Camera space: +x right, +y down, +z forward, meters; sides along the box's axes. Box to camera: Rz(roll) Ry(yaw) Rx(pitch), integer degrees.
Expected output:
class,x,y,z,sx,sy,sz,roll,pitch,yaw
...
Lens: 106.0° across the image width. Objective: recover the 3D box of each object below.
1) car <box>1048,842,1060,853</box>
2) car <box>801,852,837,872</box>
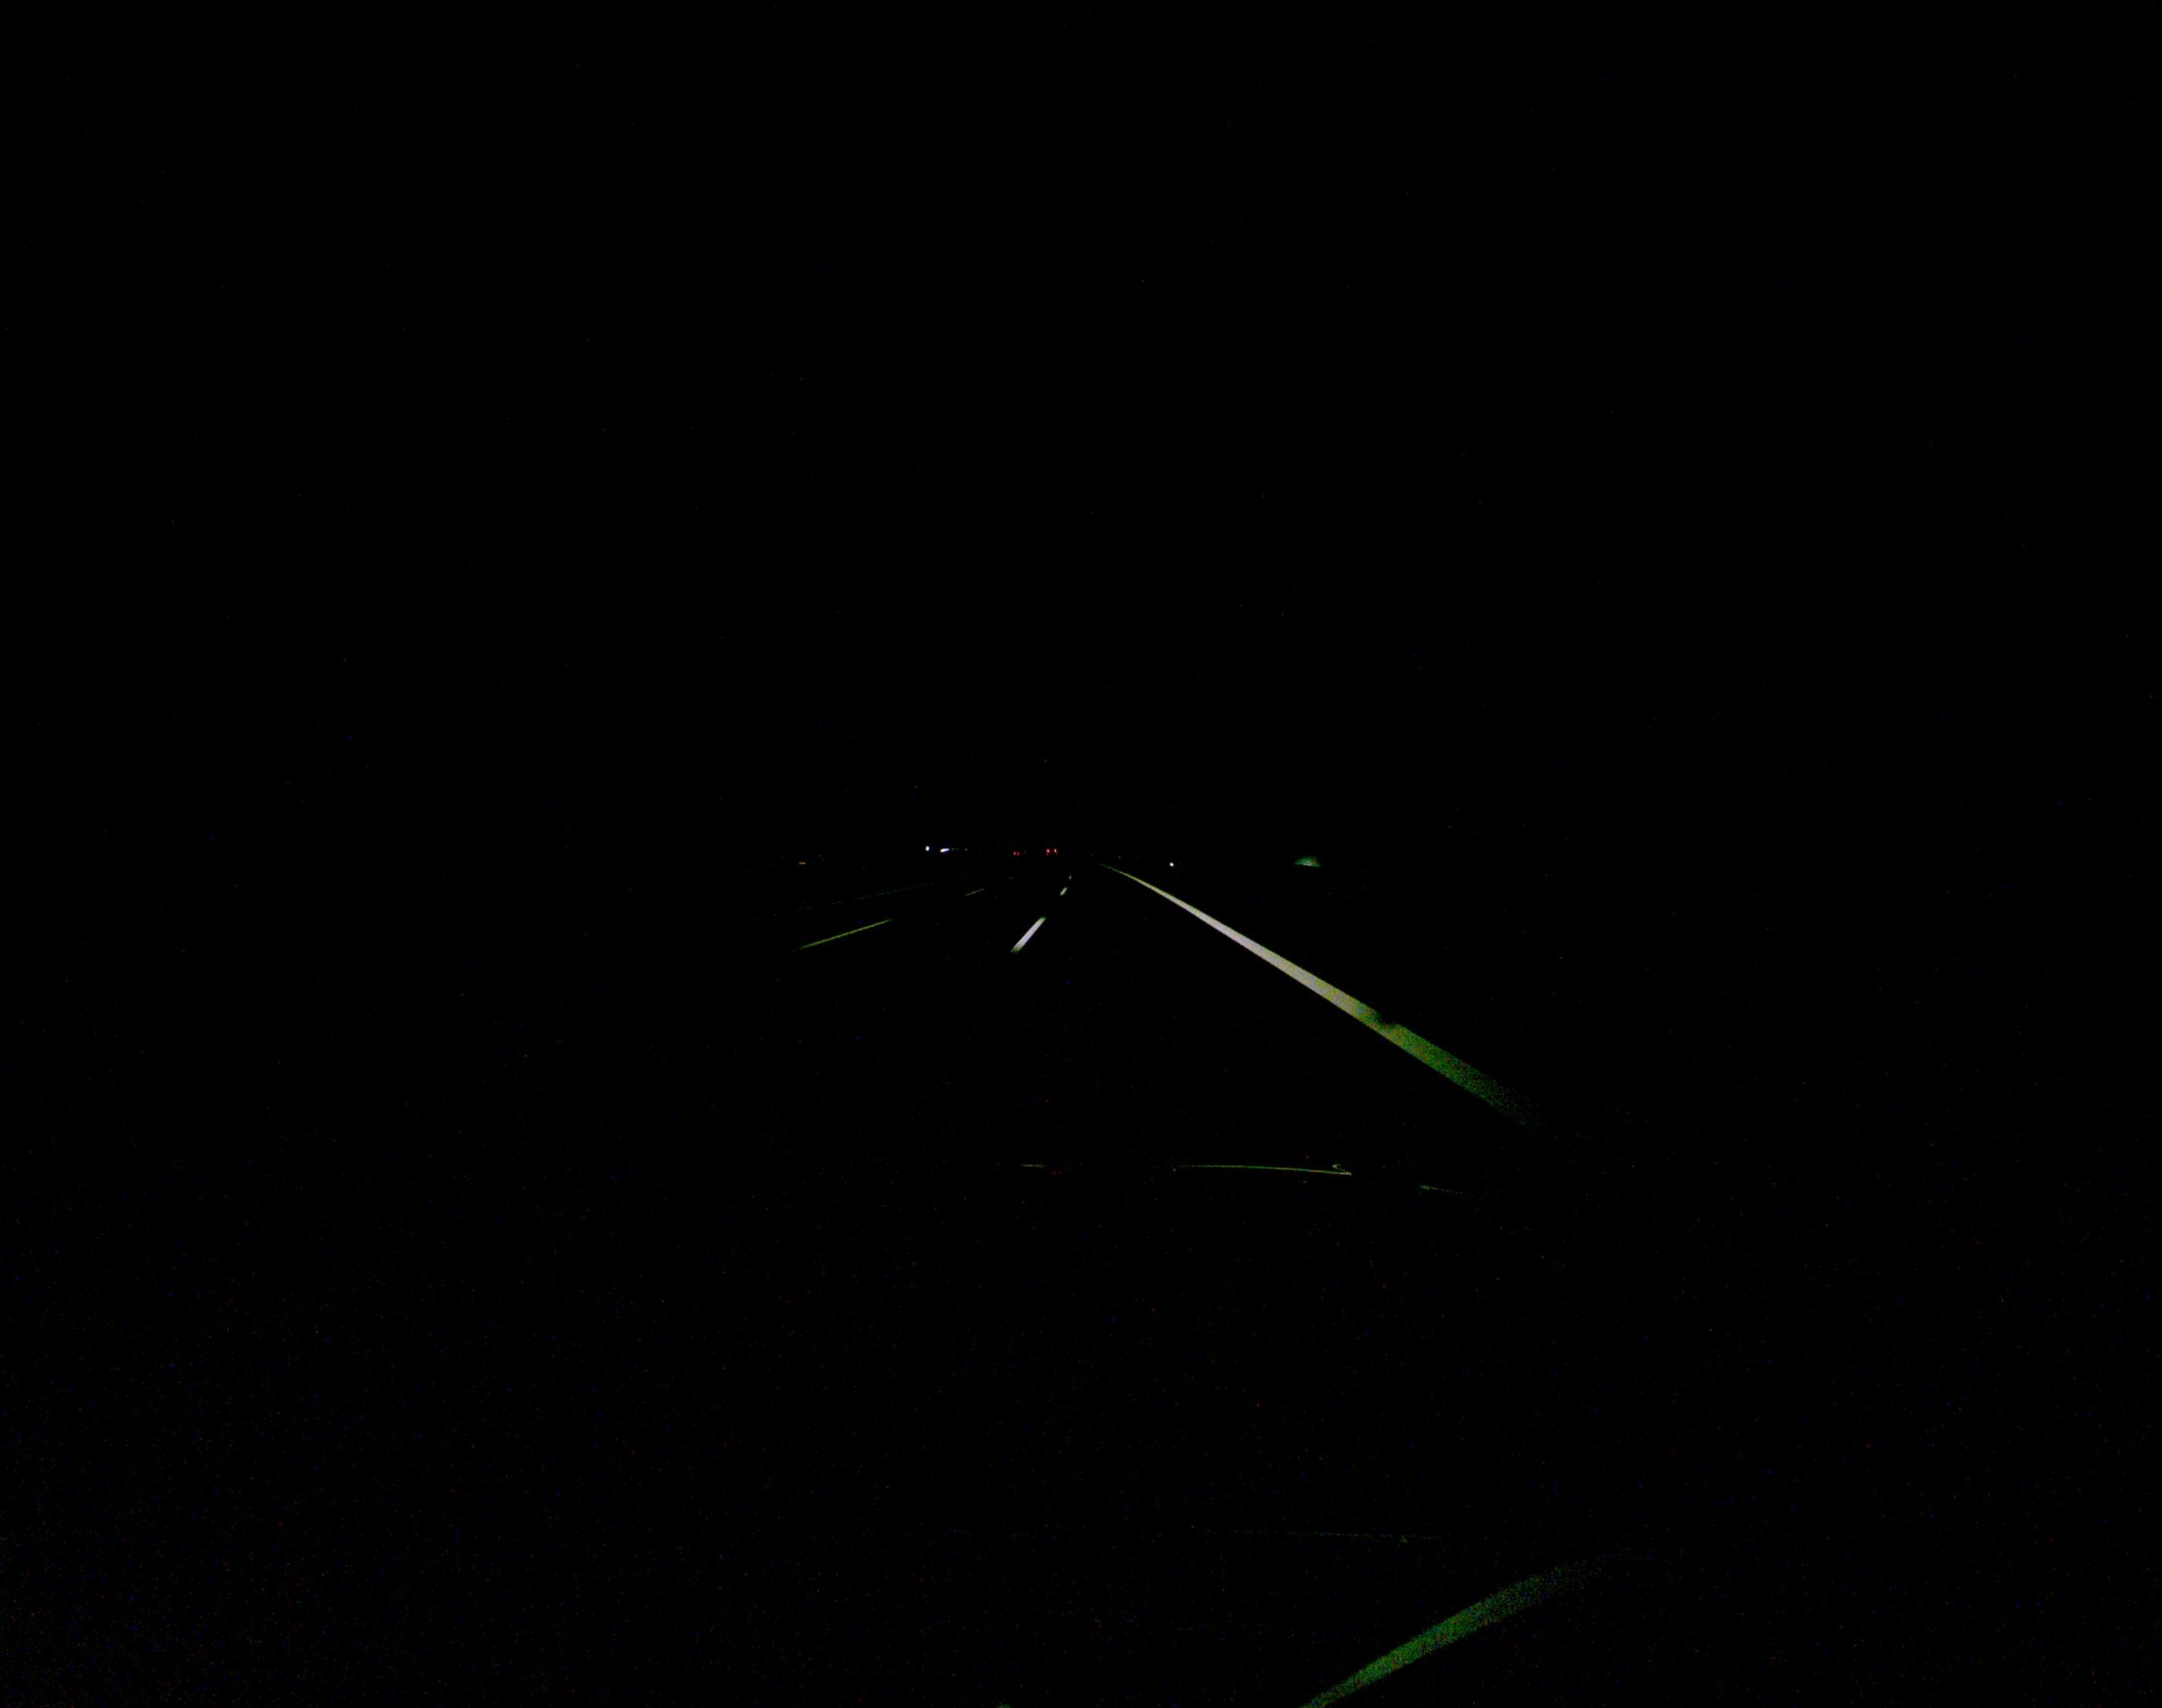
class,x,y,z,sx,sy,sz,roll,pitch,yaw
car,-6.685,-1.525,201.238,2.523,2.553,6.041,2,0,-4
car,-23.047,0.676,71.822,1.988,1.726,4.074,-1,1,-2
